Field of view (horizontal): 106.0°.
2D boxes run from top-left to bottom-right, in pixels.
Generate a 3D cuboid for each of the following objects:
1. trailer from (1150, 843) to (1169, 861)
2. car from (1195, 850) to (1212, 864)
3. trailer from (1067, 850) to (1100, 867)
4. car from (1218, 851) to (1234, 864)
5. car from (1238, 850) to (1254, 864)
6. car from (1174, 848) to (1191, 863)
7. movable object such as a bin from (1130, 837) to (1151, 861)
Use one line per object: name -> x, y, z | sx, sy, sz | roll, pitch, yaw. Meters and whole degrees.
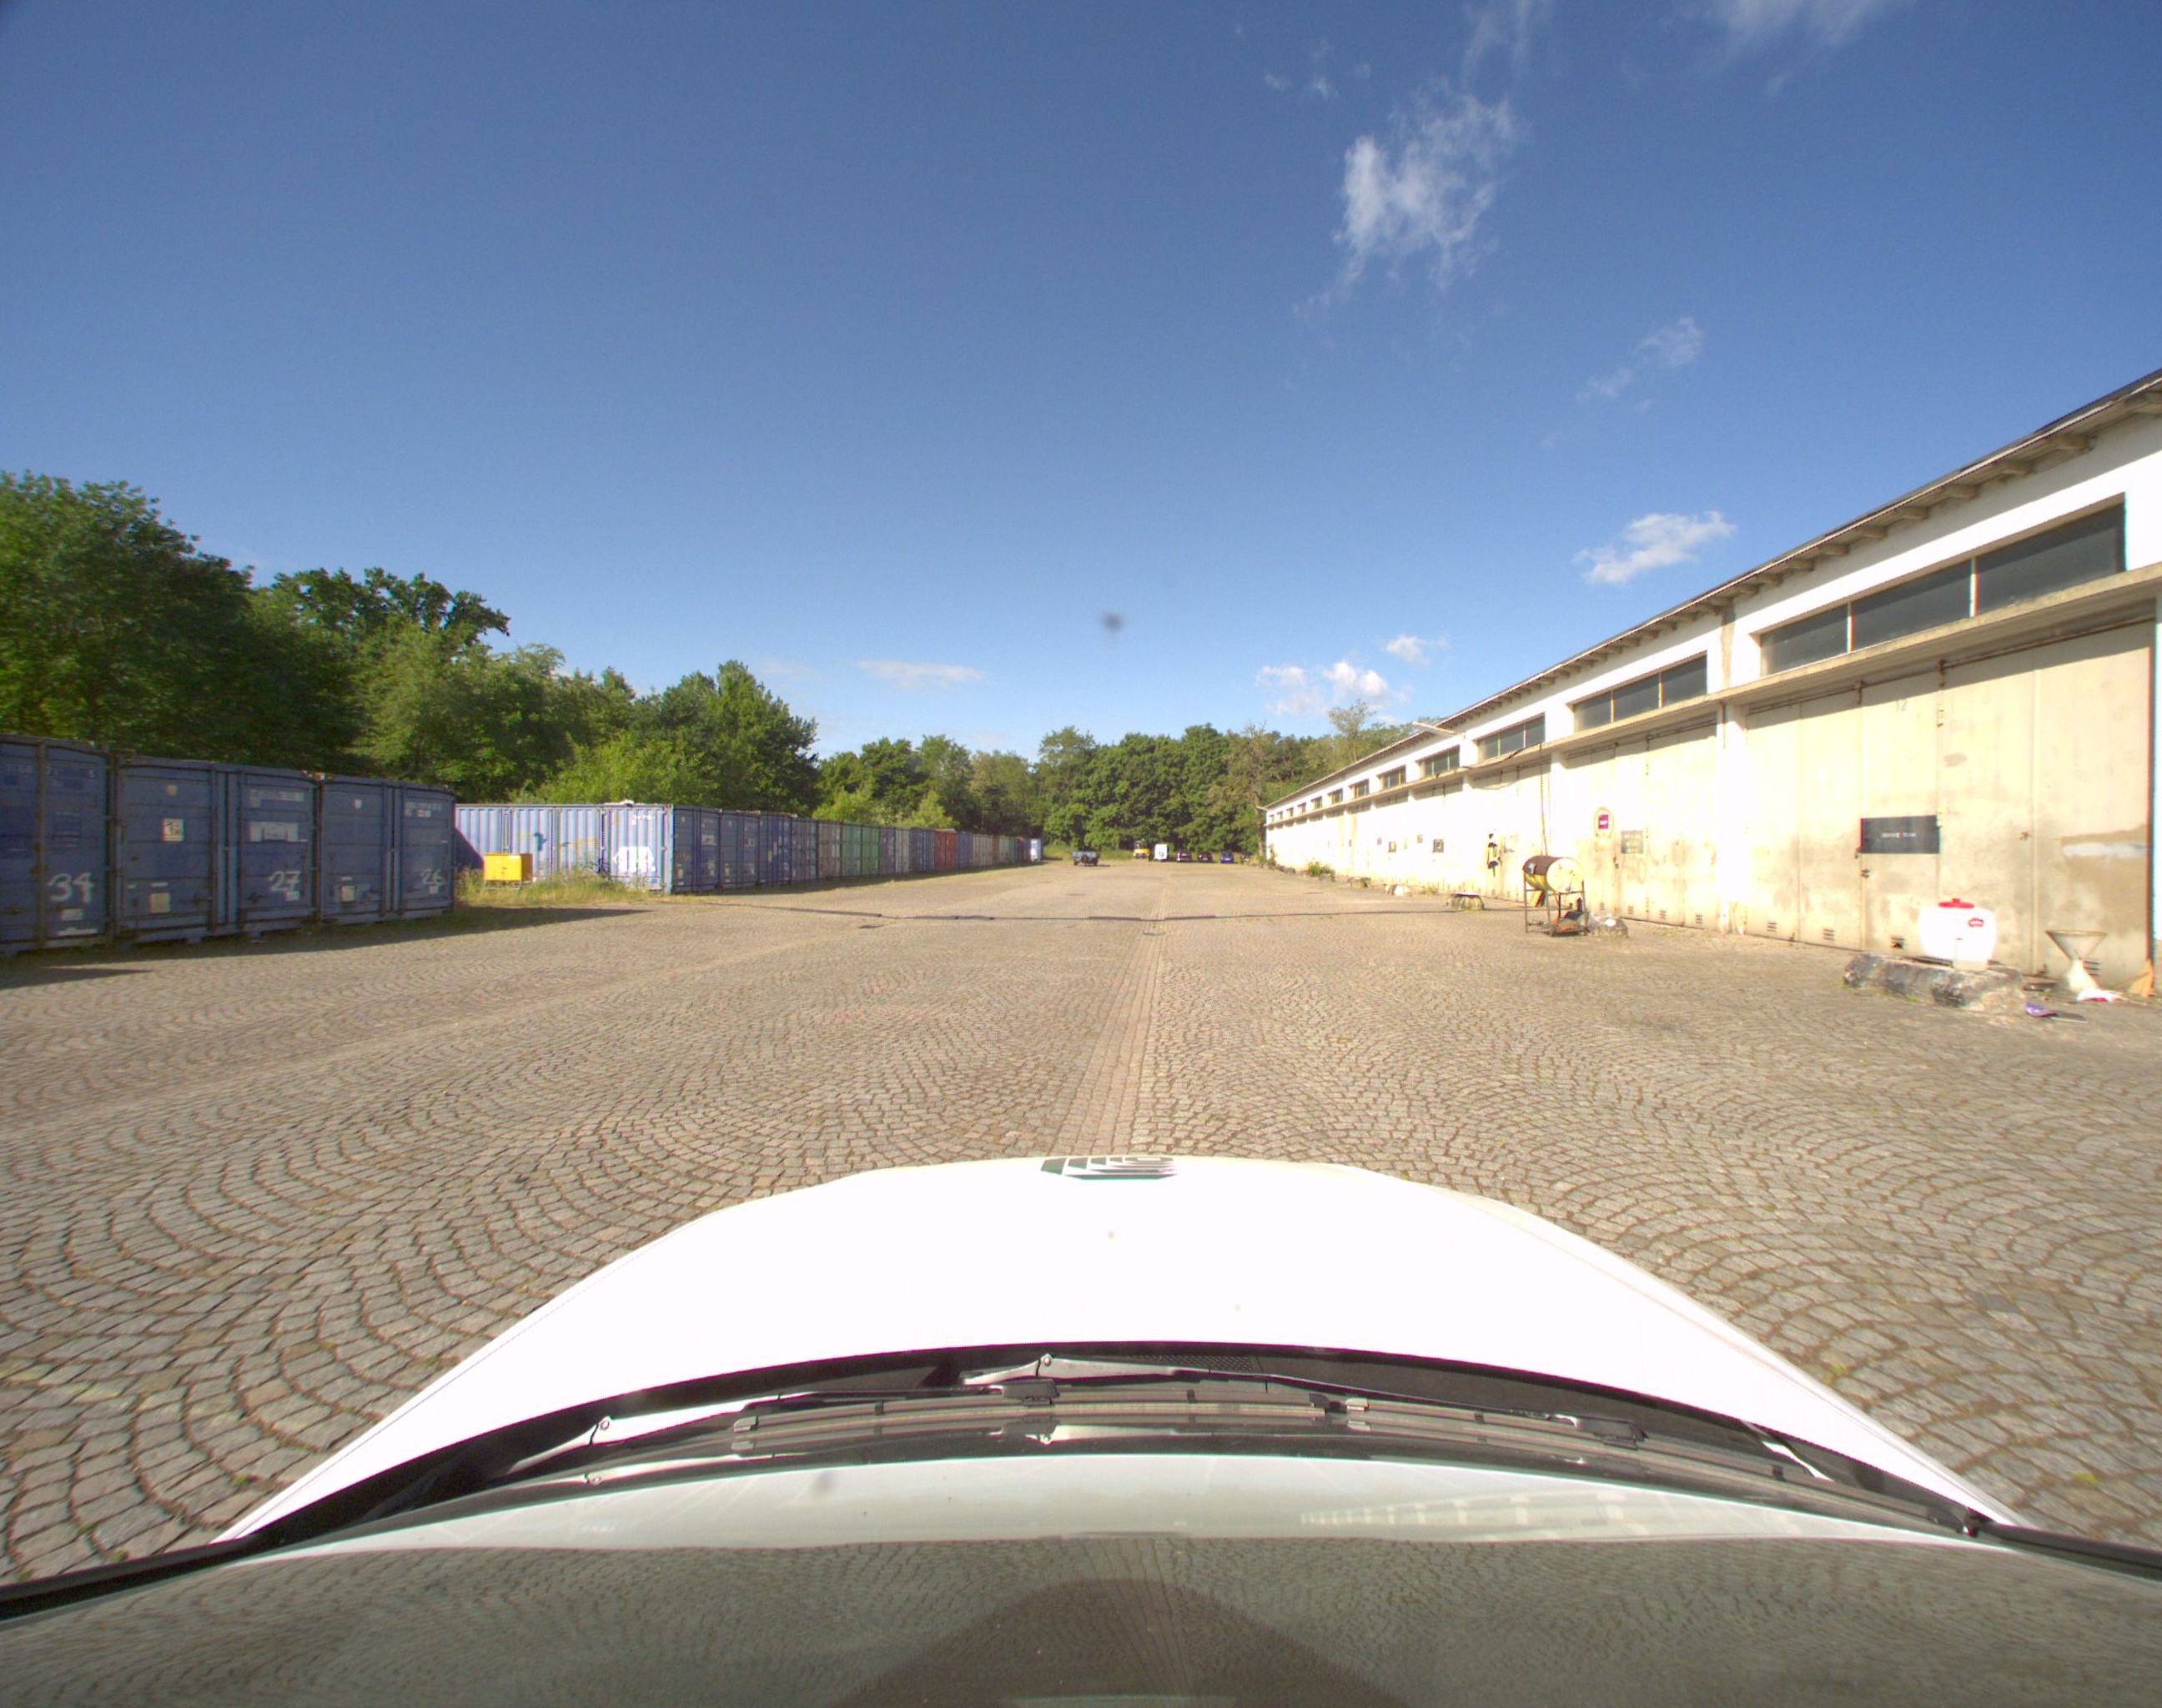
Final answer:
trailer -> 9.695, -0.265, 99.890 | 2.182, 2.094, 5.761 | 1, 2, 6
car -> 14.610, 0.329, 97.372 | 1.854, 1.470, 4.303 | 2, 2, 6
trailer -> 0.310, 0.419, 80.610 | 2.693, 1.465, 6.256 | 1, 1, 5
car -> 17.343, 0.376, 97.034 | 1.733, 1.436, 4.197 | 2, 2, 11
car -> 19.929, 0.346, 98.191 | 1.732, 1.436, 4.198 | 2, 2, 13
car -> 12.105, 0.200, 97.253 | 1.854, 1.589, 4.303 | 2, 2, 6
movable object such as a bin -> 7.407, -0.675, 100.717 | 2.294, 2.896, 5.763 | 2, 2, 7
